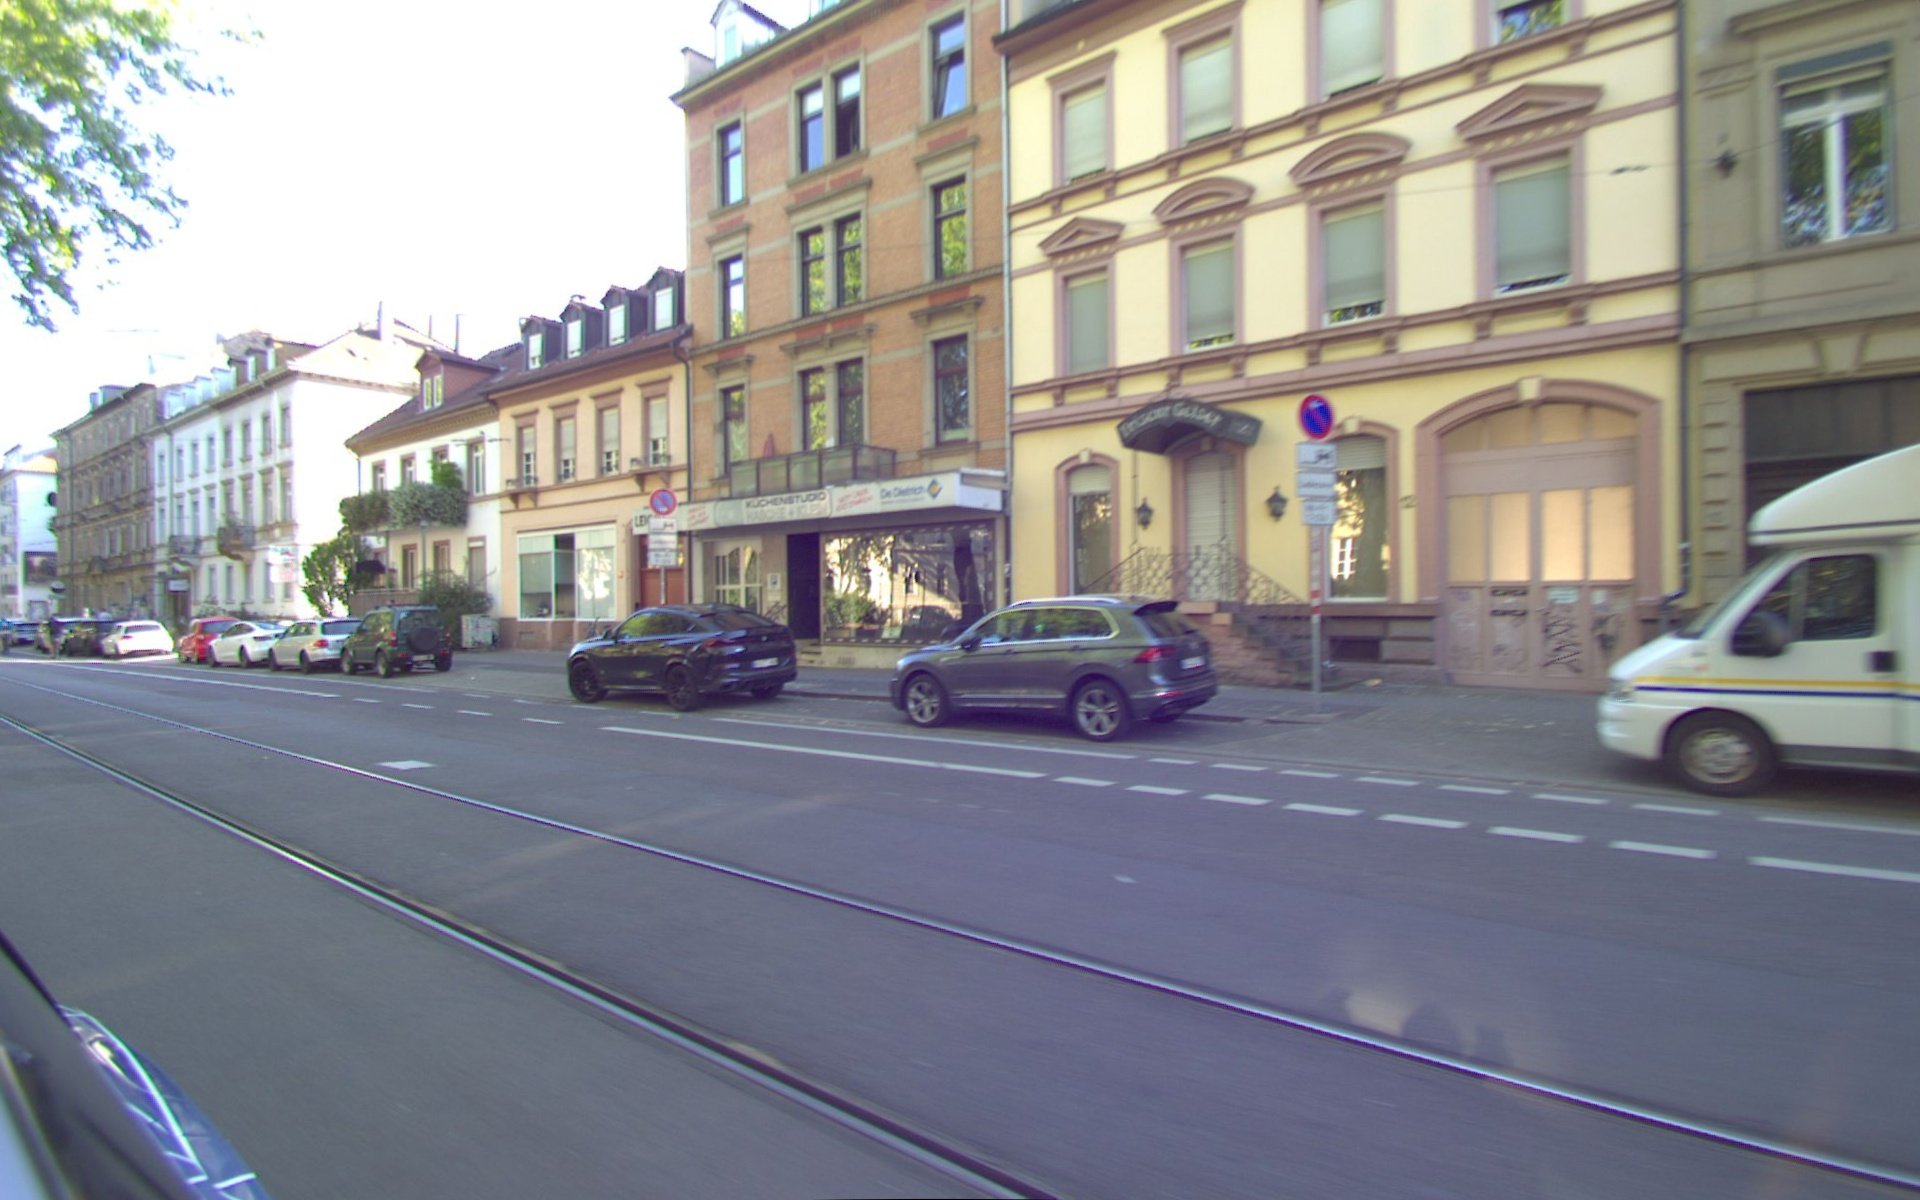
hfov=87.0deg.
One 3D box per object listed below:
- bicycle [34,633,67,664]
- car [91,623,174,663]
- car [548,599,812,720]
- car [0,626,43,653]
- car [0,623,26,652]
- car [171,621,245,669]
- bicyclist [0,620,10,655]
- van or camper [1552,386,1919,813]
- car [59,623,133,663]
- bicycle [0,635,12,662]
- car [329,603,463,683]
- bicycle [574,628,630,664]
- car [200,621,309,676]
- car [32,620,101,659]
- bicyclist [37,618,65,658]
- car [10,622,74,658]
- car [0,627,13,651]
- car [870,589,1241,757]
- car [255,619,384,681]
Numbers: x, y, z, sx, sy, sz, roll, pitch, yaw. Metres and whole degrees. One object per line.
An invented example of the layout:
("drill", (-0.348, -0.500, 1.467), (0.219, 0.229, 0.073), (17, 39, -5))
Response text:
("bicycle", (-36.095, 1.910, 40.163), (2.119, 1.146, 0.705), (-1, -1, 40))
("car", (-33.970, 1.739, 41.491), (4.079, 1.442, 1.845), (-1, 1, 40))
("car", (-4.966, 0.953, 17.654), (4.745, 1.715, 1.975), (-1, 3, 39))
("car", (-53.780, 2.227, 57.594), (4.079, 1.386, 1.776), (-1, 1, 40))
("car", (-57.864, 2.258, 60.969), (4.079, 1.639, 1.776), (-1, 1, 40))
("car", (-26.039, 1.517, 35.009), (3.325, 1.522, 1.403), (-1, 1, 42))
("bicyclist", (-42.476, 1.634, 44.671), (0.953, 1.529, 0.705), (-1, -1, 42))
("van or camper", (8.499, -0.088, 6.990), (7.247, 2.968, 2.395), (-1, 3, 41))
("car", (-38.081, 1.857, 44.578), (4.079, 1.608, 1.776), (-1, 1, 40))
("bicycle", (-42.428, 2.142, 44.636), (2.119, 1.146, 0.705), (-1, -1, 41))
("car", (-14.211, 1.043, 25.437), (3.623, 1.759, 1.707), (-1, 2, 40))
("bicycle", (-10.132, 1.273, 28.571), (2.119, 0.976, 0.499), (-1, -1, 40))
("car", (-21.969, 1.471, 31.448), (4.465, 1.502, 1.567), (-1, 1, 39))
("car", (-42.209, 1.847, 47.785), (4.250, 1.652, 1.776), (-1, 1, 40))
("bicyclist", (-36.031, 1.492, 40.104), (0.953, 1.529, 0.706), (-1, -1, 40))
("car", (-47.045, 2.016, 51.839), (4.571, 1.652, 1.776), (-1, 1, 40))
("car", (-62.223, 2.534, 64.779), (4.079, 1.493, 1.776), (-1, 1, 40))
("car", (1.100, 0.821, 12.990), (4.438, 1.718, 1.793), (-1, 2, 39))
("car", (-17.771, 1.338, 28.020), (4.399, 1.465, 1.647), (-1, 2, 39))
